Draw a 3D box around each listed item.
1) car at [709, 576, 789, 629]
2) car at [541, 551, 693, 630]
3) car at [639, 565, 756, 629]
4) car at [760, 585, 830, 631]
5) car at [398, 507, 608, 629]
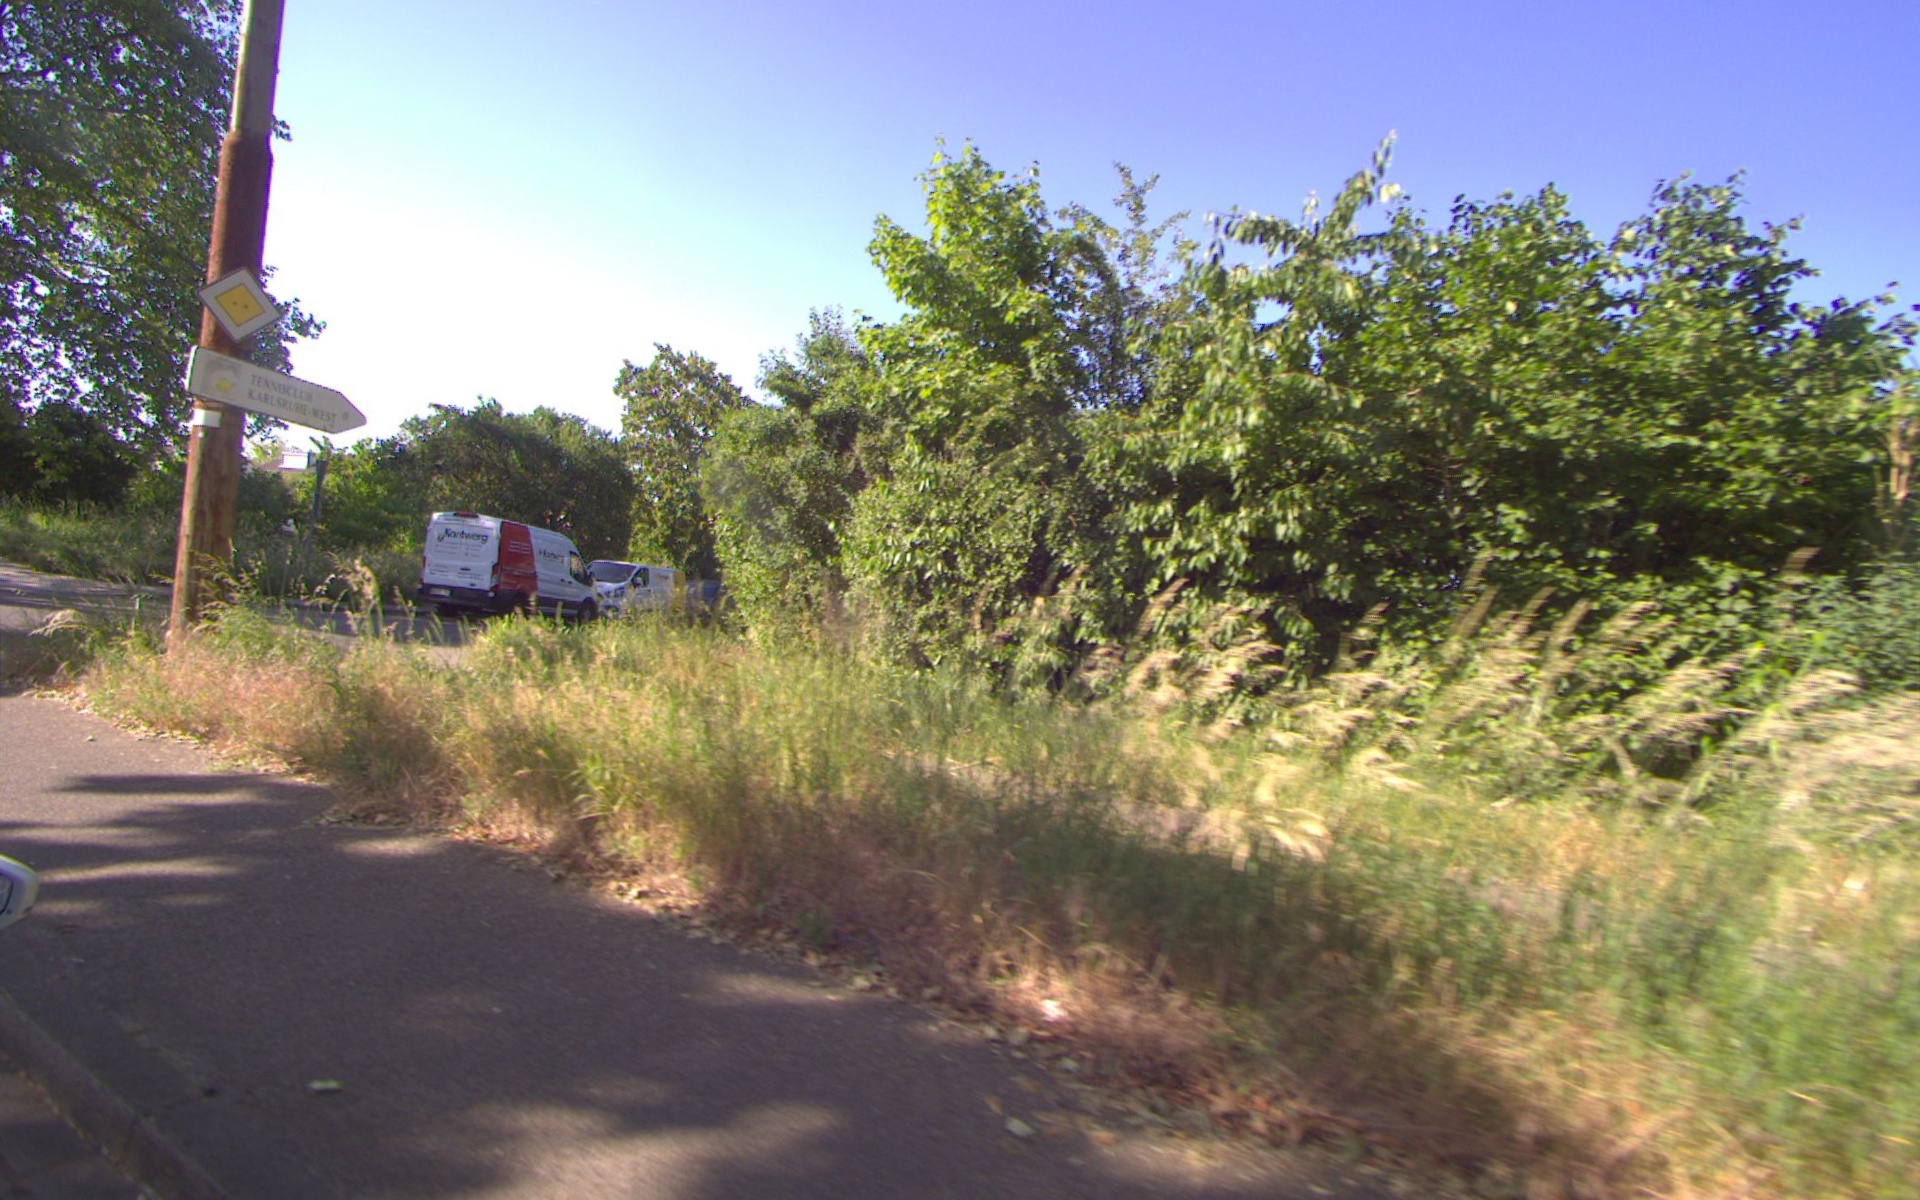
[{"bbox_3d":[-8.974,0.175,43.174,1.983,1.897,3.930,7,-1,8],"label":"car"},{"bbox_3d":[-10.556,-0.198,31.505,2.249,1.965,5.154,7,-1,8],"label":"car"},{"bbox_3d":[-9.704,-0.046,37.752,2.249,1.896,5.154,7,-1,8],"label":"car"},{"bbox_3d":[-8.095,0.437,49.740,1.983,1.877,4.401,7,-1,8],"label":"car"},{"bbox_3d":[-11.349,-0.672,25.515,2.285,2.467,5.005,7,-1,8],"label":"car"}]
